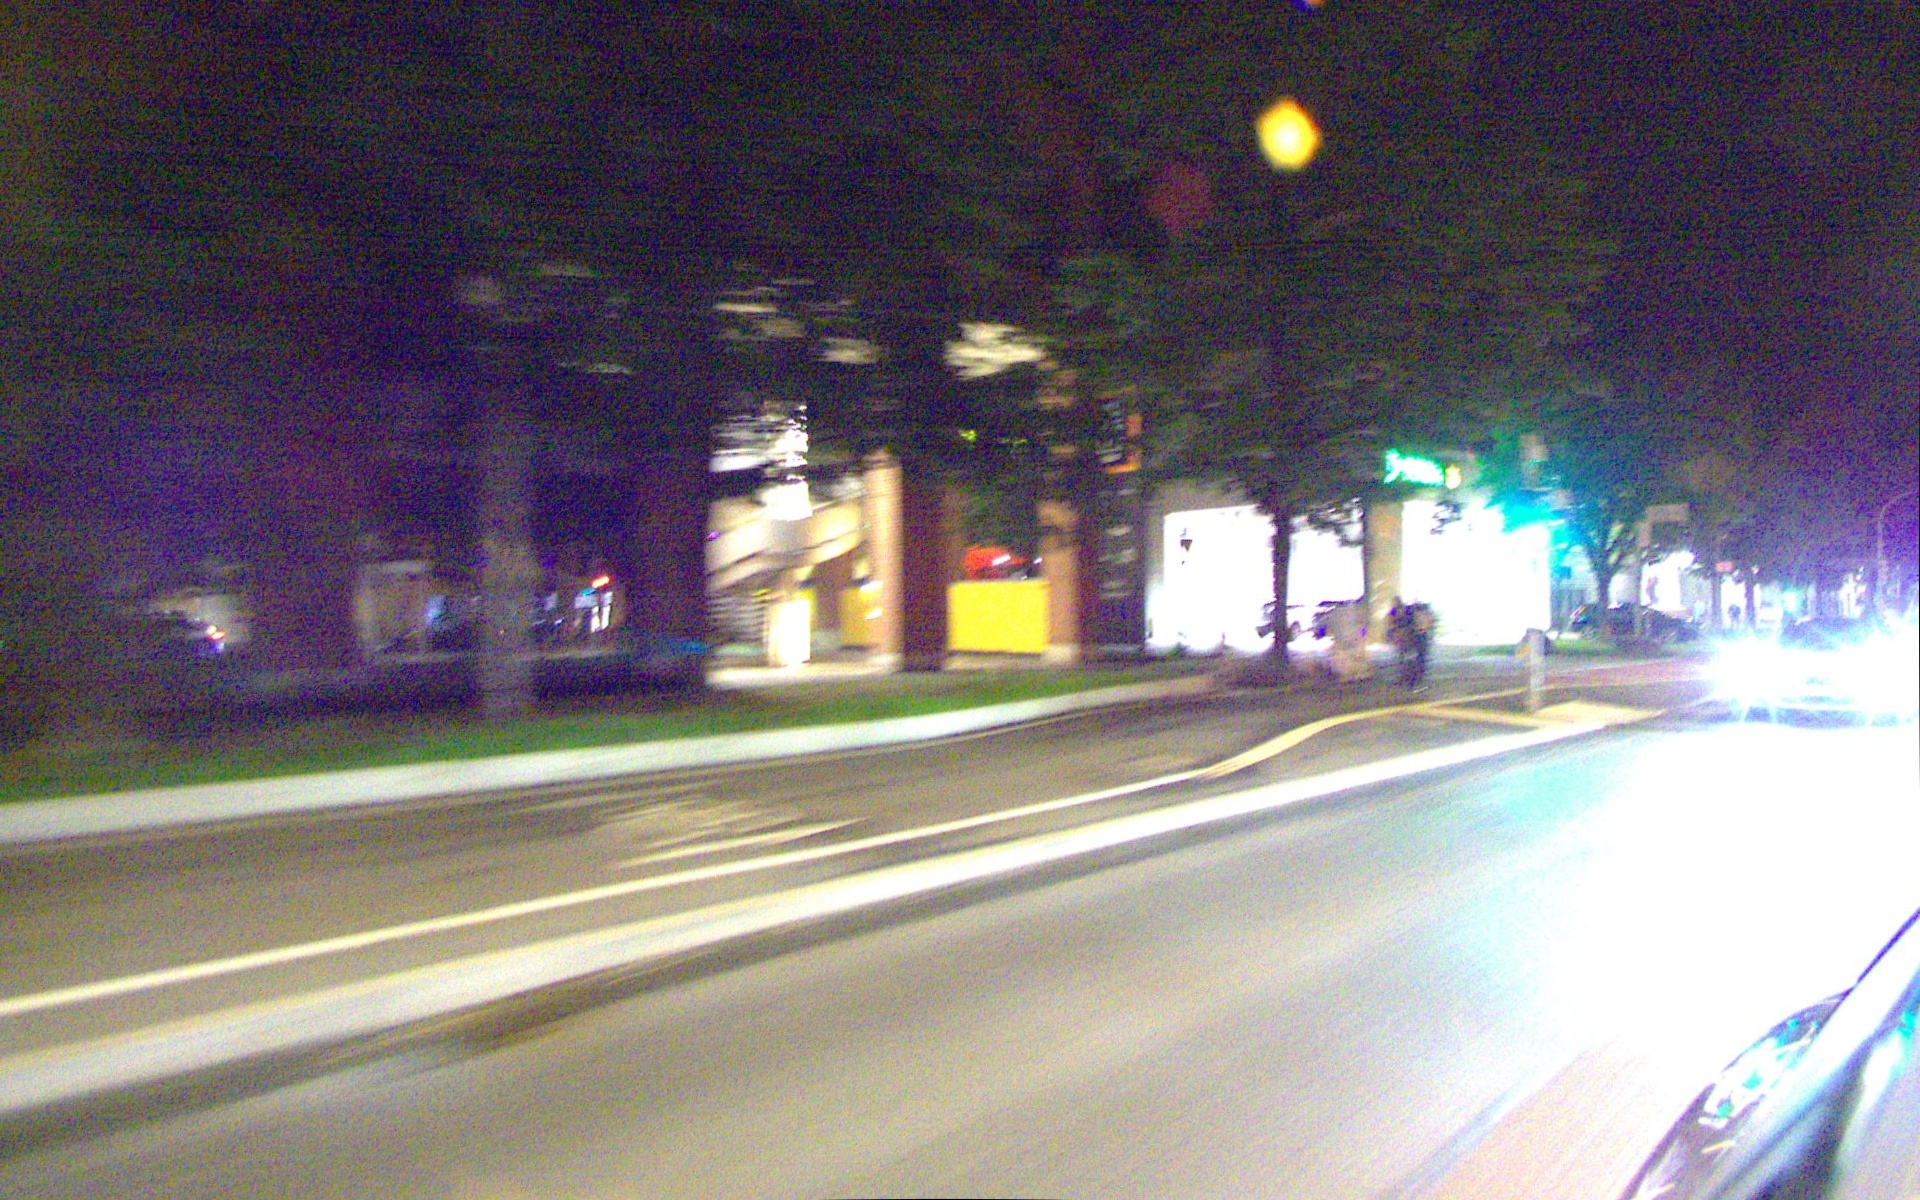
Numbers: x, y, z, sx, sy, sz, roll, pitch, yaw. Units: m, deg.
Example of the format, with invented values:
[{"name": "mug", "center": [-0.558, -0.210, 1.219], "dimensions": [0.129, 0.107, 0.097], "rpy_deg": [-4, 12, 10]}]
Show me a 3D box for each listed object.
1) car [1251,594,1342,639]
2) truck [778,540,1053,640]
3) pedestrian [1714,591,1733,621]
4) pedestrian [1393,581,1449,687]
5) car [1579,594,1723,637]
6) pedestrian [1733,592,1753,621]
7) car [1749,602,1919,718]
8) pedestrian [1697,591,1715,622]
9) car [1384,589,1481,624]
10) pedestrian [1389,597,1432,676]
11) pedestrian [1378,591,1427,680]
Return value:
[{"name": "car", "center": [13.350, 0.610, 40.079], "dimensions": [3.933, 1.616, 1.729], "rpy_deg": [-1, 1, -43]}, {"name": "truck", "center": [-2.829, -0.403, 48.134], "dimensions": [3.079, 4.034, 16.799], "rpy_deg": [-1, 1, -42]}, {"name": "pedestrian", "center": [45.676, 0.355, 60.560], "dimensions": [0.953, 1.811, 0.720], "rpy_deg": [0, 0, -41]}, {"name": "pedestrian", "center": [8.156, 0.585, 17.903], "dimensions": [0.746, 1.834, 0.623], "rpy_deg": [0, -1, -40]}, {"name": "car", "center": [25.464, 0.549, 37.381], "dimensions": [1.756, 1.473, 4.088], "rpy_deg": [-1, 0, -41]}, {"name": "pedestrian", "center": [46.130, 0.372, 59.605], "dimensions": [0.968, 1.739, 0.736], "rpy_deg": [0, 0, -41]}, {"name": "car", "center": [13.408, 0.794, 15.096], "dimensions": [4.420, 1.448, 1.727], "rpy_deg": [-1, -1, -41]}, {"name": "pedestrian", "center": [45.061, 0.380, 61.102], "dimensions": [0.890, 1.840, 0.675], "rpy_deg": [0, 0, -41]}, {"name": "car", "center": [22.933, 0.323, 49.229], "dimensions": [1.687, 1.586, 3.953], "rpy_deg": [-1, 0, -43]}, {"name": "pedestrian", "center": [9.141, 0.727, 20.526], "dimensions": [0.622, 1.553, 0.573], "rpy_deg": [0, -1, -40]}, {"name": "pedestrian", "center": [8.539, 0.669, 19.537], "dimensions": [0.667, 1.660, 0.622], "rpy_deg": [0, -1, -40]}]
